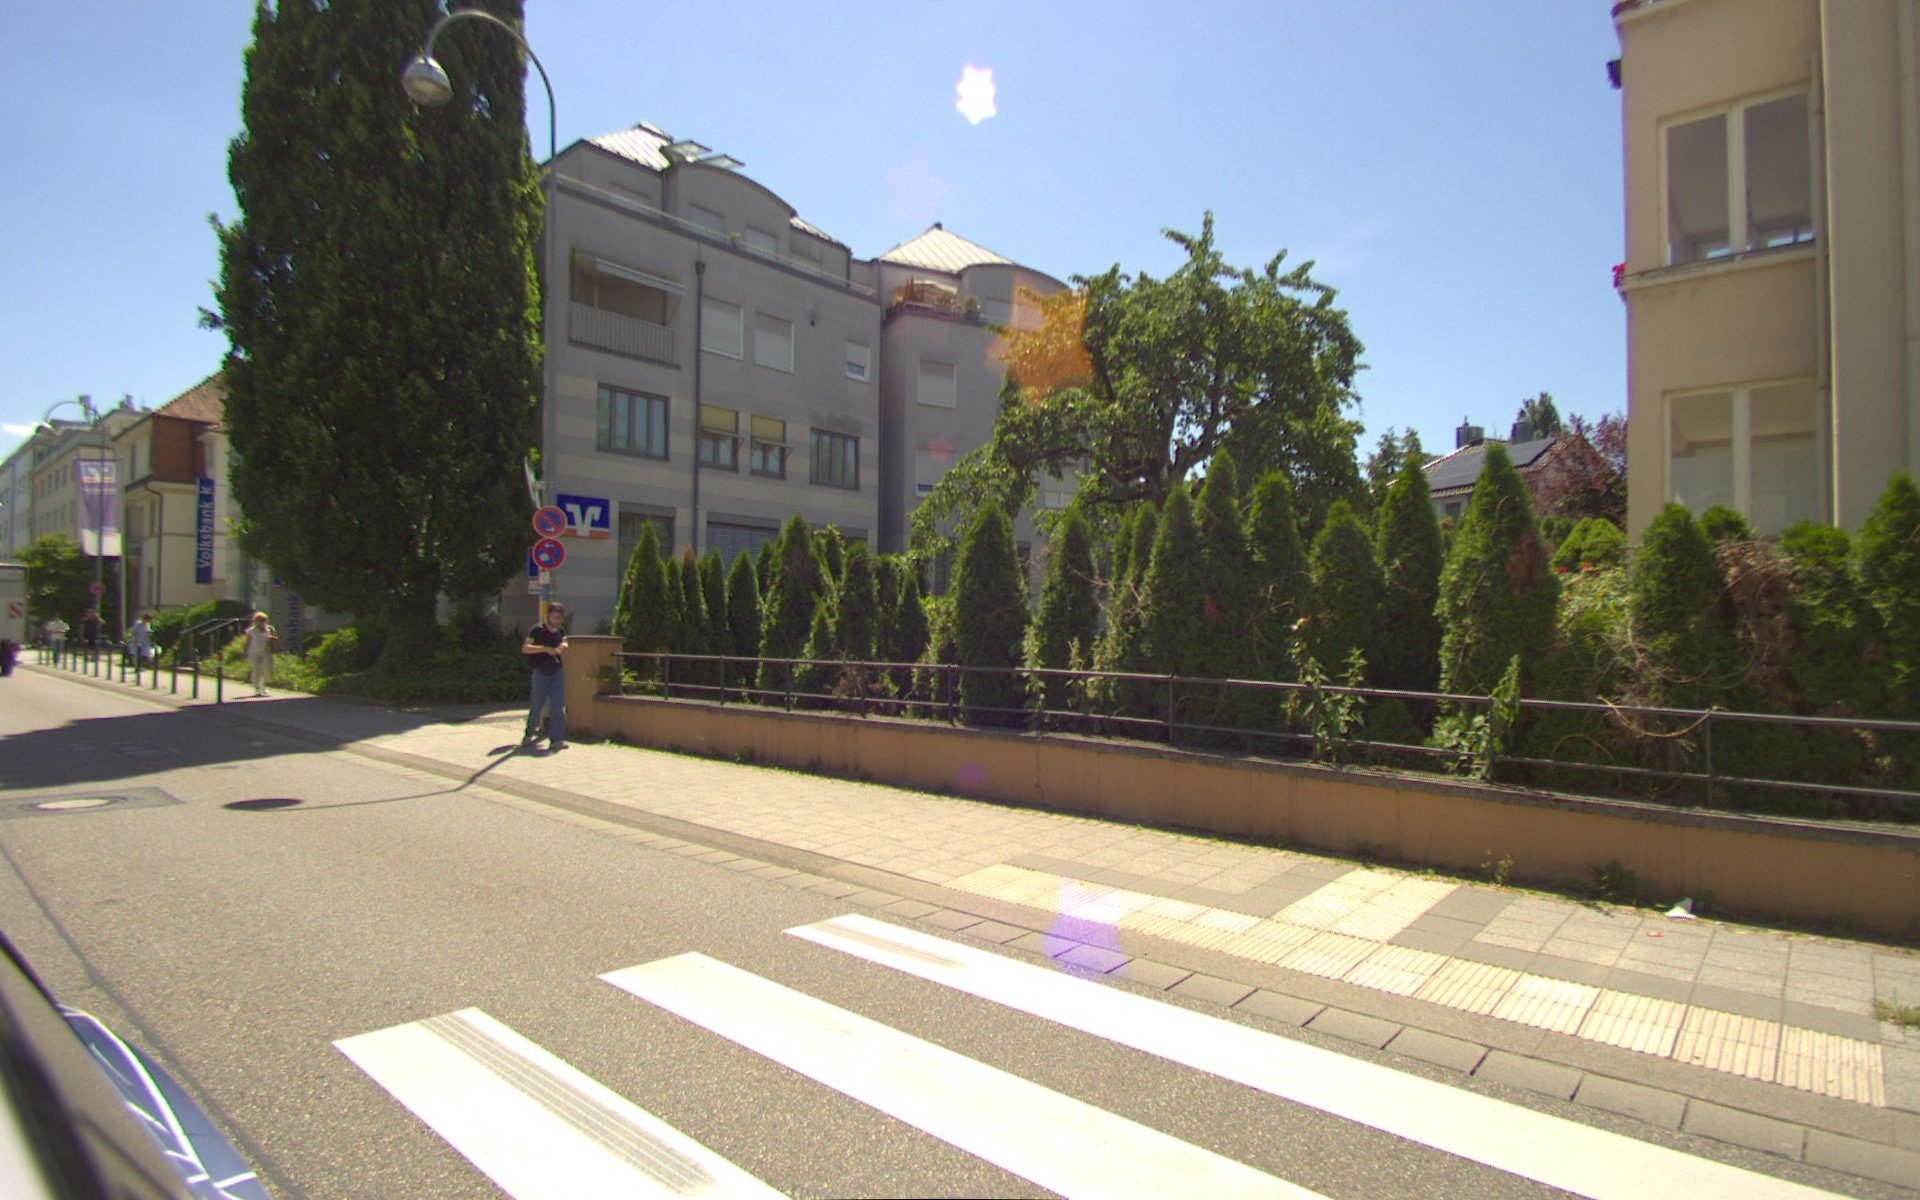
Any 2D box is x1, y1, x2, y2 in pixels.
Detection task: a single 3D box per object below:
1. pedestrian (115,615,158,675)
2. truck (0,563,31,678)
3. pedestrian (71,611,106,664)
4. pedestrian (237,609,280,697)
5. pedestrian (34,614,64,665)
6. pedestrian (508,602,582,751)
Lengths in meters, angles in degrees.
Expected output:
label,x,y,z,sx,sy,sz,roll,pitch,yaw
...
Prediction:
label,x,y,z,sx,sy,sz,roll,pitch,yaw
pedestrian,-23.618,1.266,29.041,0.751,1.657,0.836,0,1,43
truck,-28.046,0.550,28.267,6.255,3.006,2.394,-1,-3,42
pedestrian,-29.890,1.290,34.706,0.950,1.784,0.740,-1,-2,41
pedestrian,-13.955,1.036,20.123,0.708,1.698,0.531,-1,-2,41
pedestrian,-30.592,1.308,33.971,0.903,1.689,0.614,-1,0,41
pedestrian,-4.898,0.876,11.931,0.708,1.698,0.531,-1,-2,41
